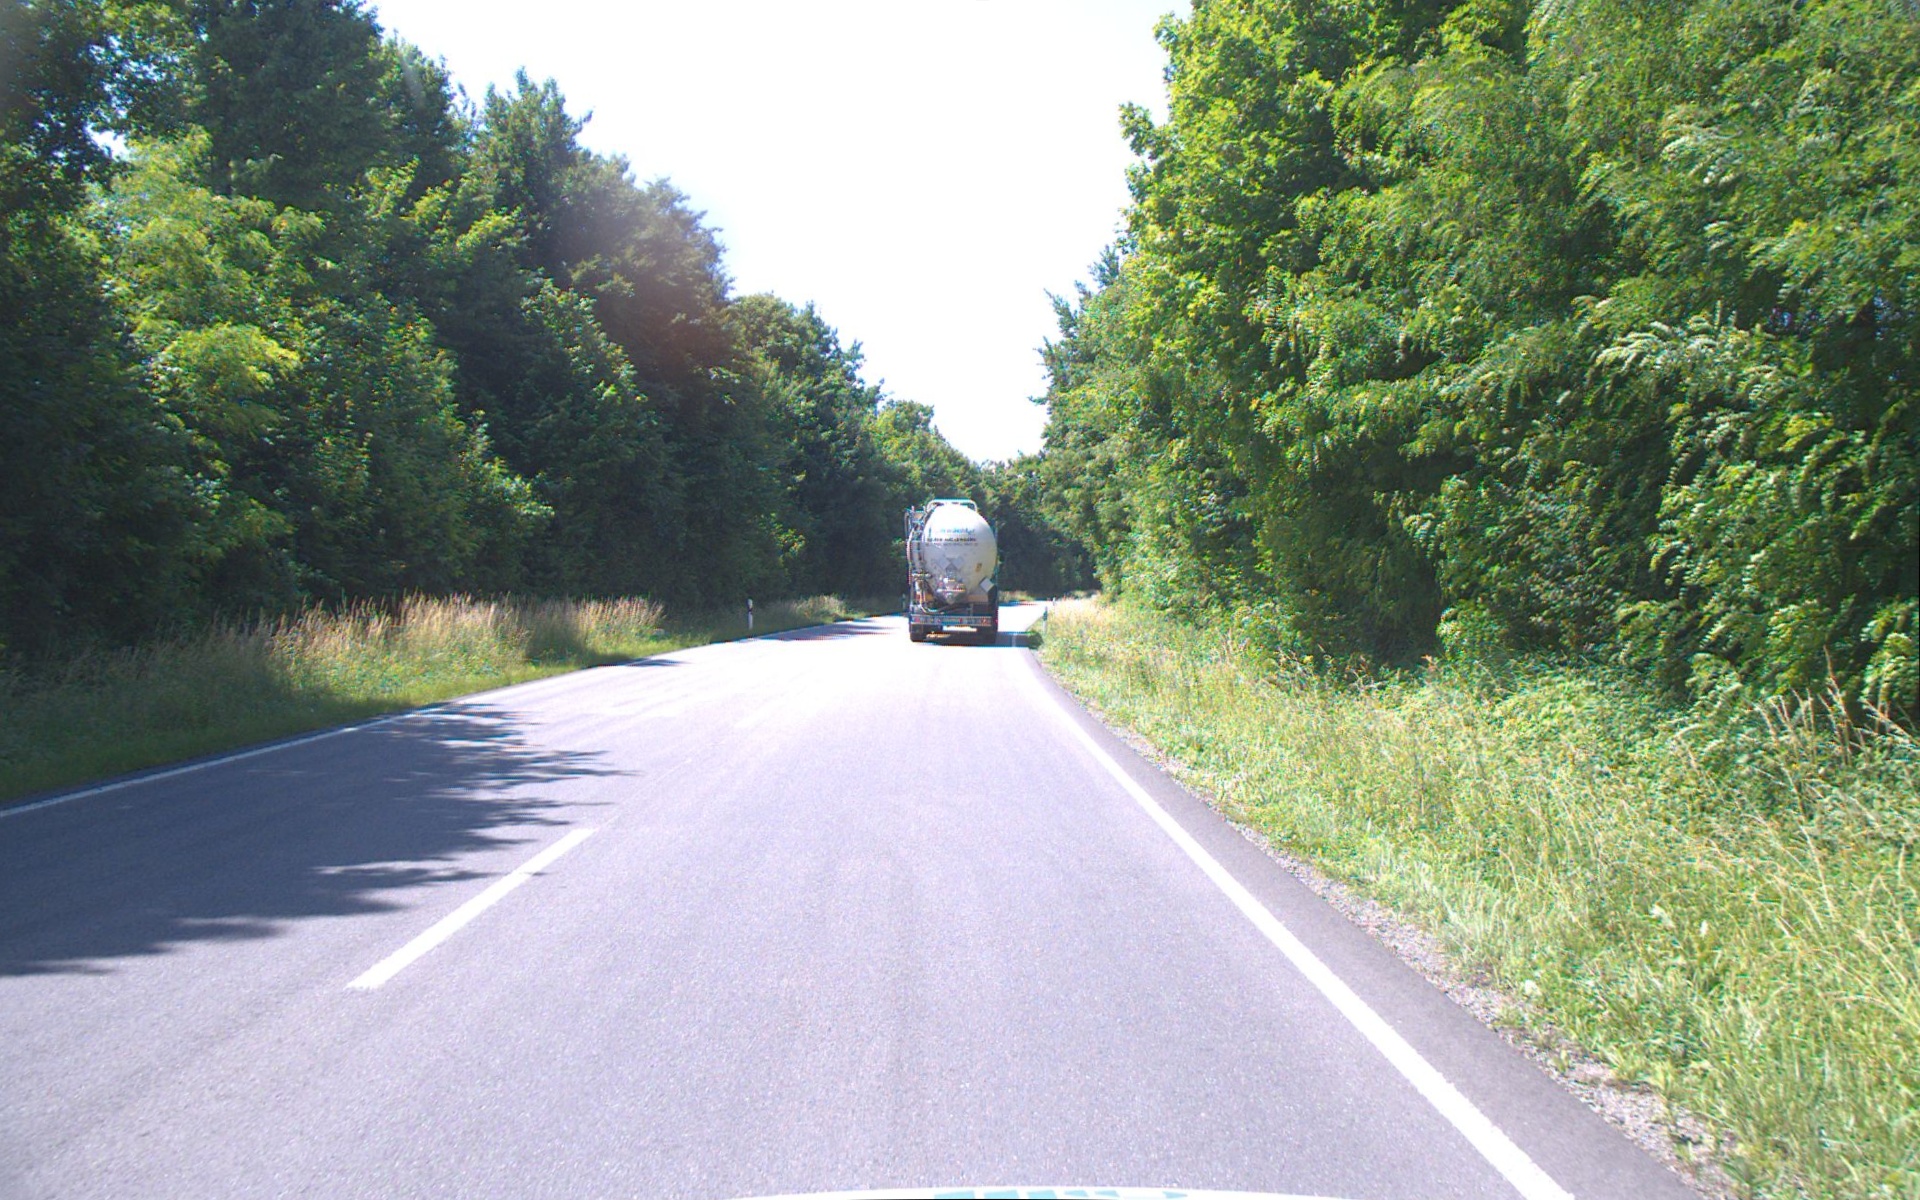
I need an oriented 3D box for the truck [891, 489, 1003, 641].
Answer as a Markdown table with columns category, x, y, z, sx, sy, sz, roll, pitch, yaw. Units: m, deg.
| category | x | y | z | sx | sy | sz | roll | pitch | yaw |
| --- | --- | --- | --- | --- | --- | --- | --- | --- | --- |
| truck | -0.404 | -1.006 | 52.416 | 2.987 | 4.068 | 15.635 | 1 | 0 | 0 |
